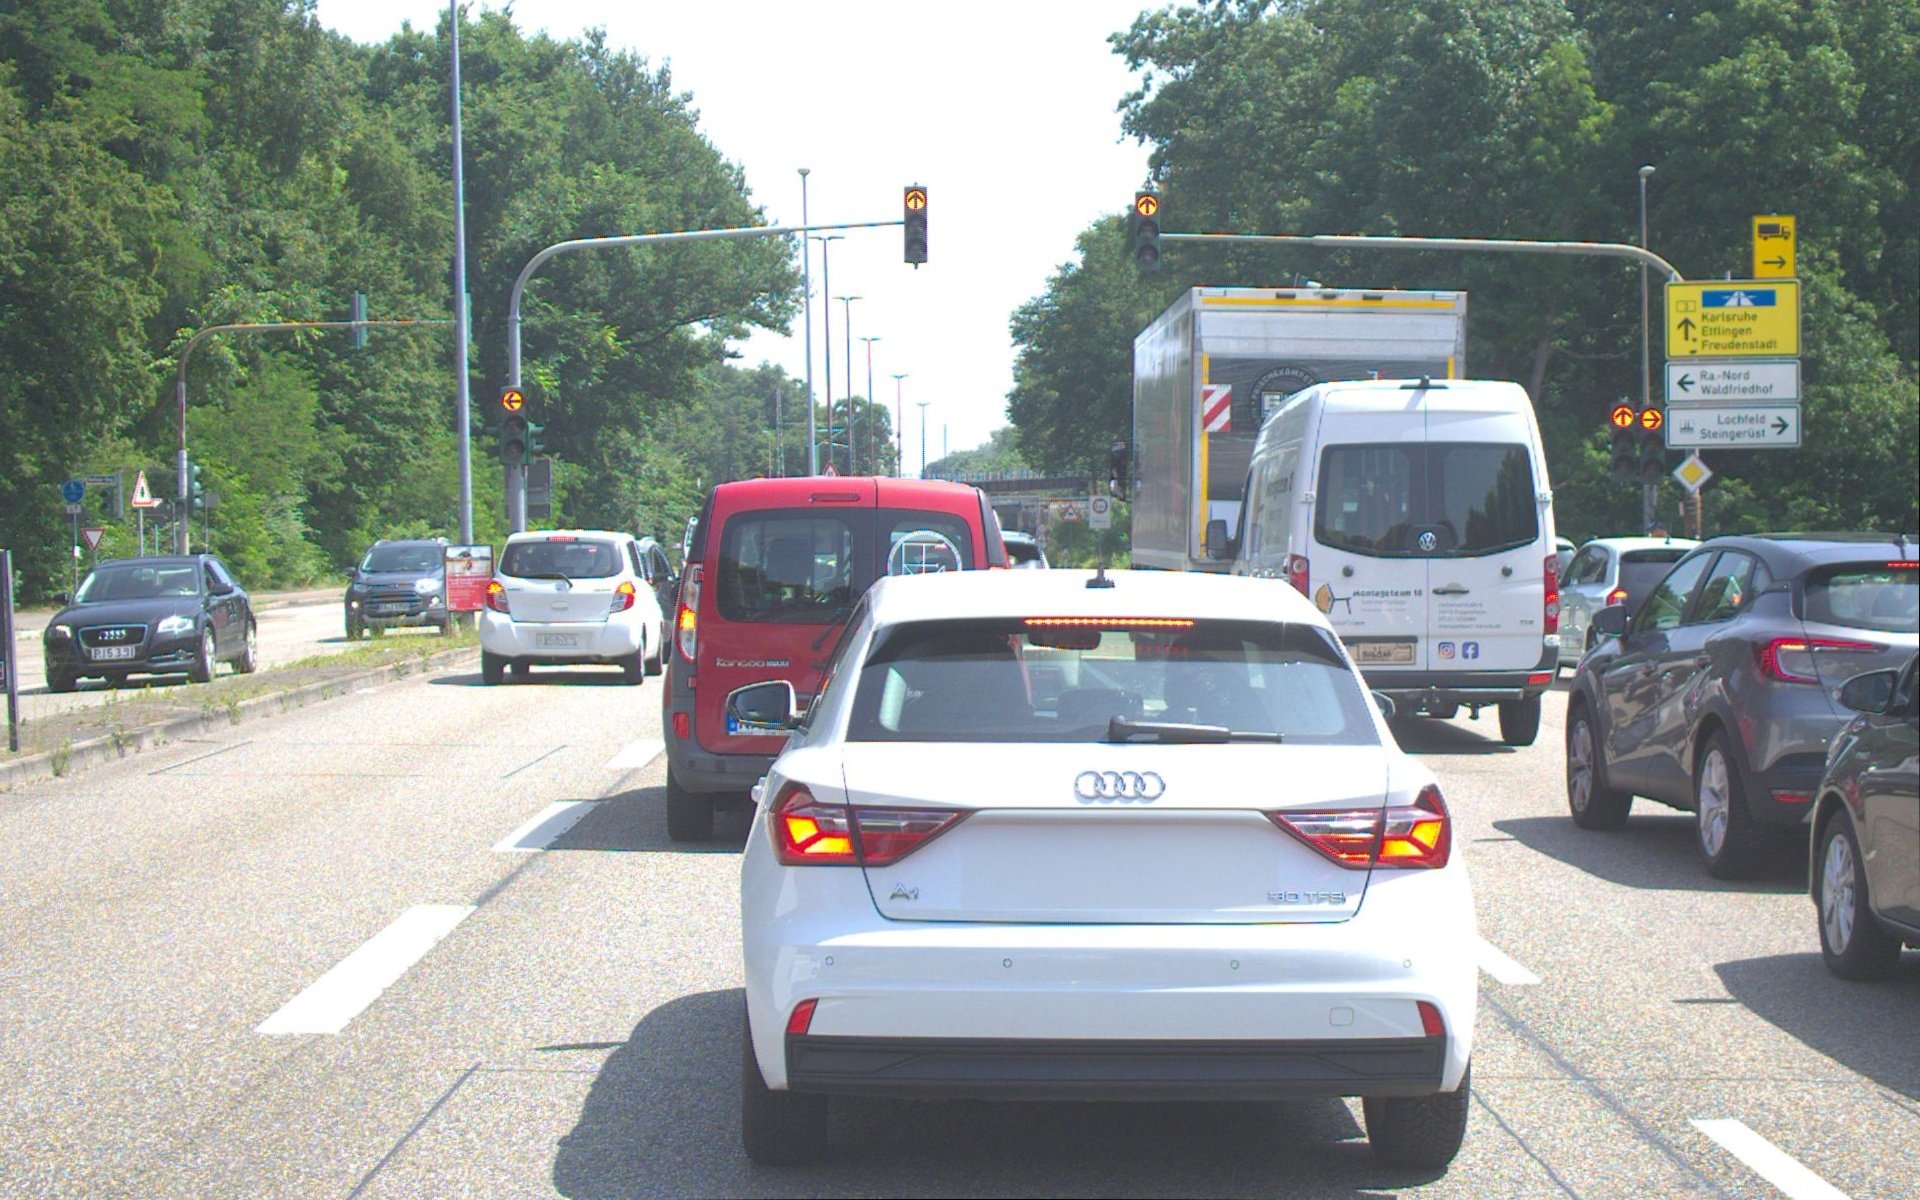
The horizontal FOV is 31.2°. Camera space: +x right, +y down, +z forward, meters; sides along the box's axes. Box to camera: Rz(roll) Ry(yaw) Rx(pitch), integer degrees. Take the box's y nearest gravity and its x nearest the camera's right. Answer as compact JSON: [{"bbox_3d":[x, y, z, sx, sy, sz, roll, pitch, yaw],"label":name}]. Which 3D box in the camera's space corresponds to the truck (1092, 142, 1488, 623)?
[{"bbox_3d":[3.286,-2.139,37.695,3.088,4.418,11.581,1,1,0],"label":"truck"}]

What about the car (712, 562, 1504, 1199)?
[{"bbox_3d":[0.252,0.610,9.488,1.711,1.381,4.092,0,1,-2],"label":"car"}]

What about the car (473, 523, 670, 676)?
[{"bbox_3d":[-3.965,-0.044,35.637,1.711,1.487,4.092,0,1,-2],"label":"car"}]

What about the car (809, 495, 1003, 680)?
[{"bbox_3d":[-0.544,-0.152,32.445,1.711,1.626,4.092,0,1,-2],"label":"car"}]

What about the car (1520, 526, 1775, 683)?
[{"bbox_3d":[7.103,0.004,35.906,1.711,1.541,4.092,0,1,-2],"label":"car"}]

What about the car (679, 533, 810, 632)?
[{"bbox_3d":[-4.621,-0.403,73.243,1.993,2.007,4.001,-1,1,-15],"label":"car"}]

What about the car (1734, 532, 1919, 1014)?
[{"bbox_3d":[3.818,0.569,10.670,1.711,1.473,4.092,3,1,-2],"label":"car"}]

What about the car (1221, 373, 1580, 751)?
[{"bbox_3d":[3.264,-0.316,26.464,2.031,2.635,4.846,0,1,-1],"label":"car"}]

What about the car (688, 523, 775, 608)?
[{"bbox_3d":[-5.669,-0.872,84.822,1.993,2.007,4.001,-1,1,-6],"label":"car"}]

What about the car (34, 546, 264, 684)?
[{"bbox_3d":[-8.992,0.124,38.404,1.678,1.335,4.001,-4,1,-2],"label":"car"}]

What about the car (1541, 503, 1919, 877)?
[{"bbox_3d":[4.088,0.340,16.659,1.711,1.587,4.092,0,1,-2],"label":"car"}]

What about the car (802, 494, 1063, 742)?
[{"bbox_3d":[-0.248,0.076,24.635,1.711,1.626,4.092,0,1,-2],"label":"car"}]

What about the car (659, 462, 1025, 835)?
[{"bbox_3d":[-0.622,0.186,18.154,1.711,1.742,4.092,0,1,-2],"label":"car"}]

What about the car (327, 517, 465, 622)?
[{"bbox_3d":[-9.381,-0.521,57.394,1.686,1.594,3.885,-3,1,-2],"label":"car"}]
